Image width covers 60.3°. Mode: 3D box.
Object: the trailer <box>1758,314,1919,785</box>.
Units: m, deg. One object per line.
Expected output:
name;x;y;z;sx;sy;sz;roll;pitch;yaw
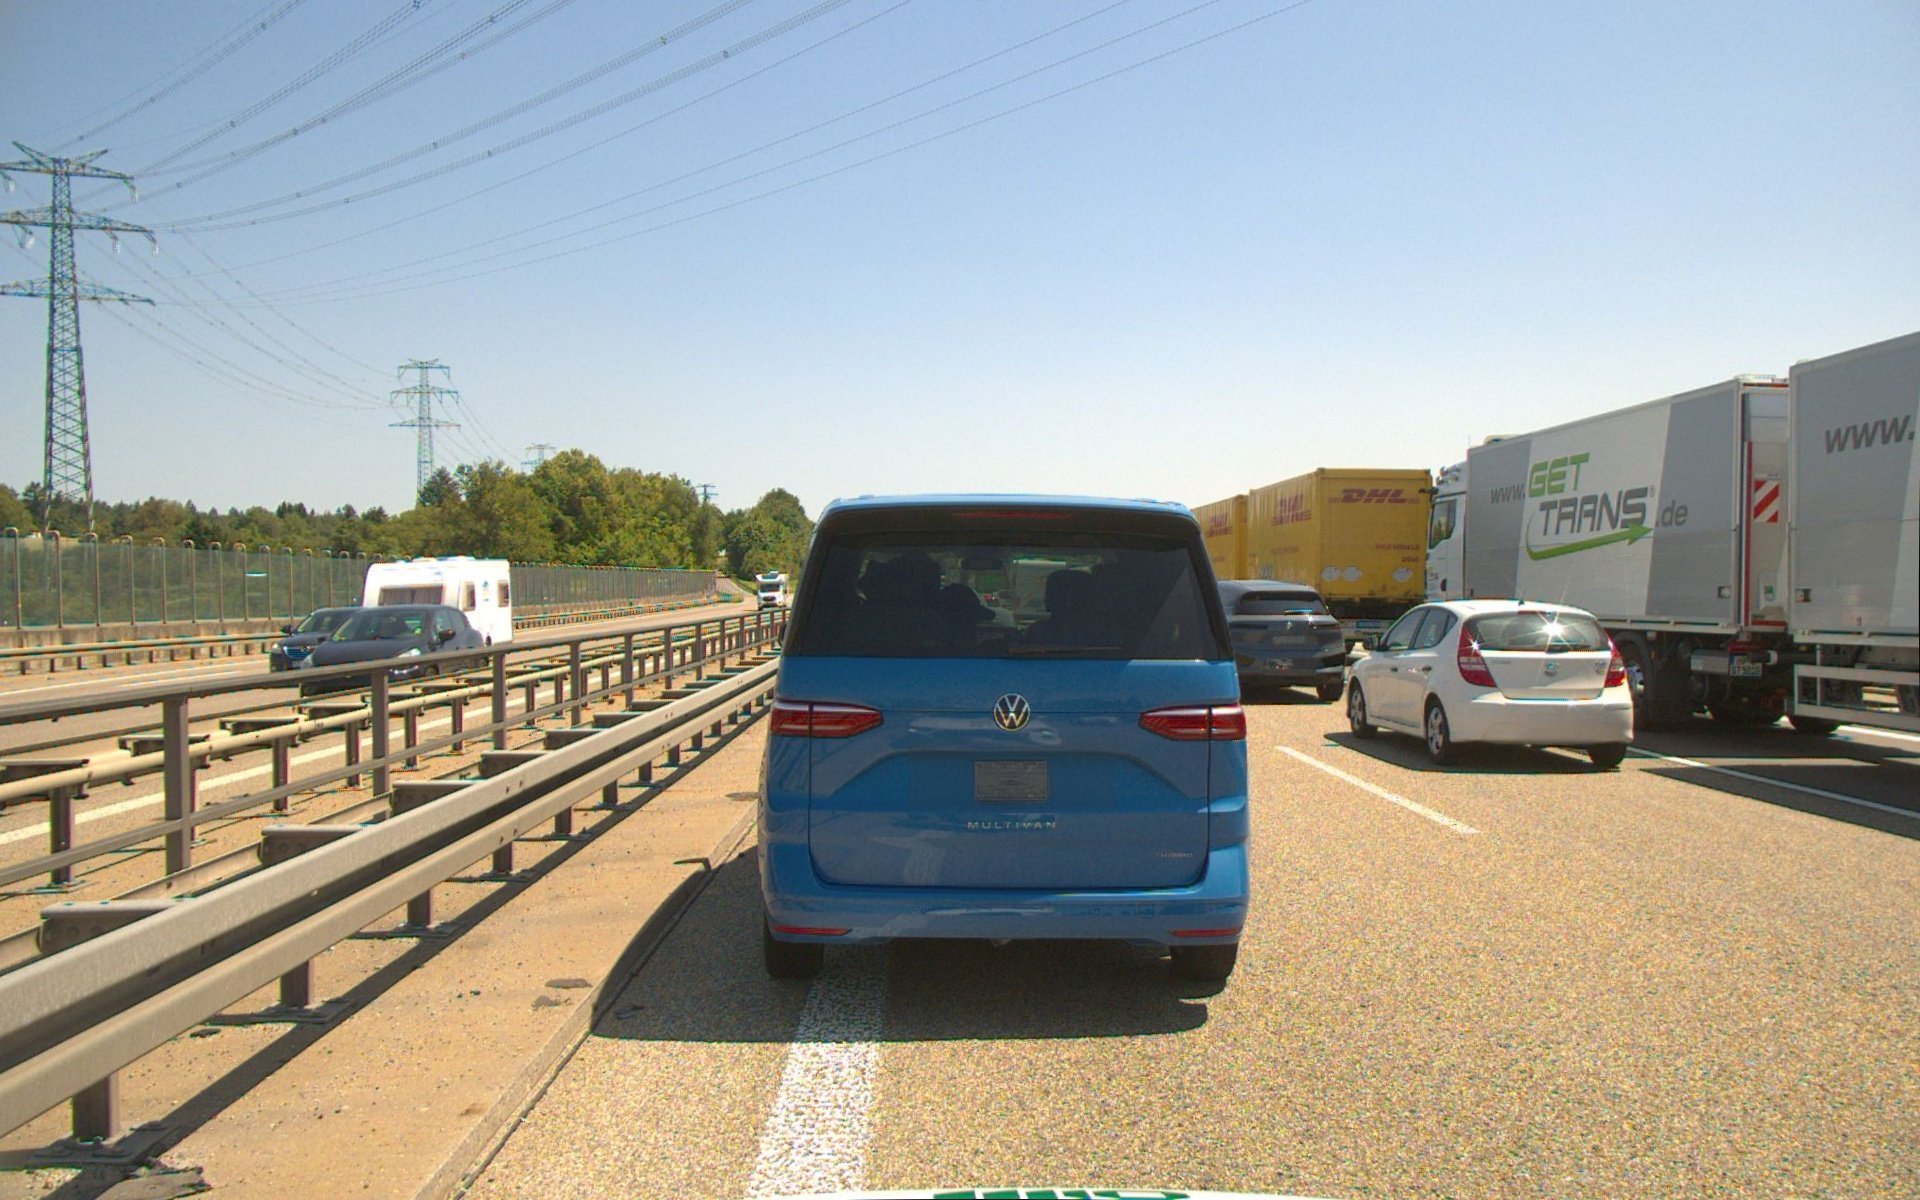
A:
trailer;9.037;-0.395;11.855;2.643;3.765;8.013;0;0;-1

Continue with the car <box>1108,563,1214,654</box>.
car;4.705;0.178;39.208;1.922;2.028;4.292;0;0;-1

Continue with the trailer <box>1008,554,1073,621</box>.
trailer;3.848;-0.560;81.049;2.517;3.042;10.661;1;0;-1

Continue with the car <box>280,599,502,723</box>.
car;-7.880;0.781;23.301;1.634;1.473;4.000;-3;0;0

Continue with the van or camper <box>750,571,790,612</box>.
van or camper;-15.170;-0.705;132.457;2.373;3.076;7.025;-2;0;-1

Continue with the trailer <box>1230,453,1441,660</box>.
trailer;8.644;-0.901;39.319;2.806;4.313;9.009;1;0;-1

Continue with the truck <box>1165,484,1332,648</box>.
truck;8.341;-0.915;49.401;2.778;4.317;11.008;1;0;-1

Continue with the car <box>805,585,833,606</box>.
car;-11.492;-0.395;135.223;1.830;1.558;4.424;-4;0;-1

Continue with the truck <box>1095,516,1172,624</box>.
truck;7.675;-1.282;73.816;2.613;4.562;6.848;1;0;-1

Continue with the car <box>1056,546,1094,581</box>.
car;6.962;-2.209;100.599;1.953;2.049;4.460;-1;0;-1

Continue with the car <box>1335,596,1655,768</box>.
car;5.140;0.703;16.510;1.752;1.481;4.292;0;0;-1

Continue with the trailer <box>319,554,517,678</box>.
trailer;-12.617;0.319;39.127;2.442;2.593;6.773;-2;0;-1

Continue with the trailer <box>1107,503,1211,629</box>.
trailer;7.804;-1.271;66.345;2.583;4.595;11.299;1;0;-1

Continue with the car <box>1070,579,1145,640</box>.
car;4.620;0.264;52.129;1.953;1.847;3.999;0;0;-1

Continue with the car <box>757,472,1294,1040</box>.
car;0.200;0.525;7.608;1.783;1.890;4.074;1;0;-1

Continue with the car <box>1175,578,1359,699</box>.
car;4.507;0.516;24.914;1.922;1.673;4.292;0;0;-1

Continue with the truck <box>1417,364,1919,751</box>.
truck;8.840;-0.445;21.376;2.603;3.711;11.008;0;0;-1

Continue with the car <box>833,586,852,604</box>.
car;-12.504;-0.542;176.206;1.829;1.729;4.429;-2;1;-2

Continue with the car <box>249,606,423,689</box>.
car;-12.466;0.898;33.365;1.739;1.432;4.681;-2;0;-1

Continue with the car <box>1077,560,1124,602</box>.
car;7.045;-0.919;83.008;1.953;2.049;3.999;1;0;-1
